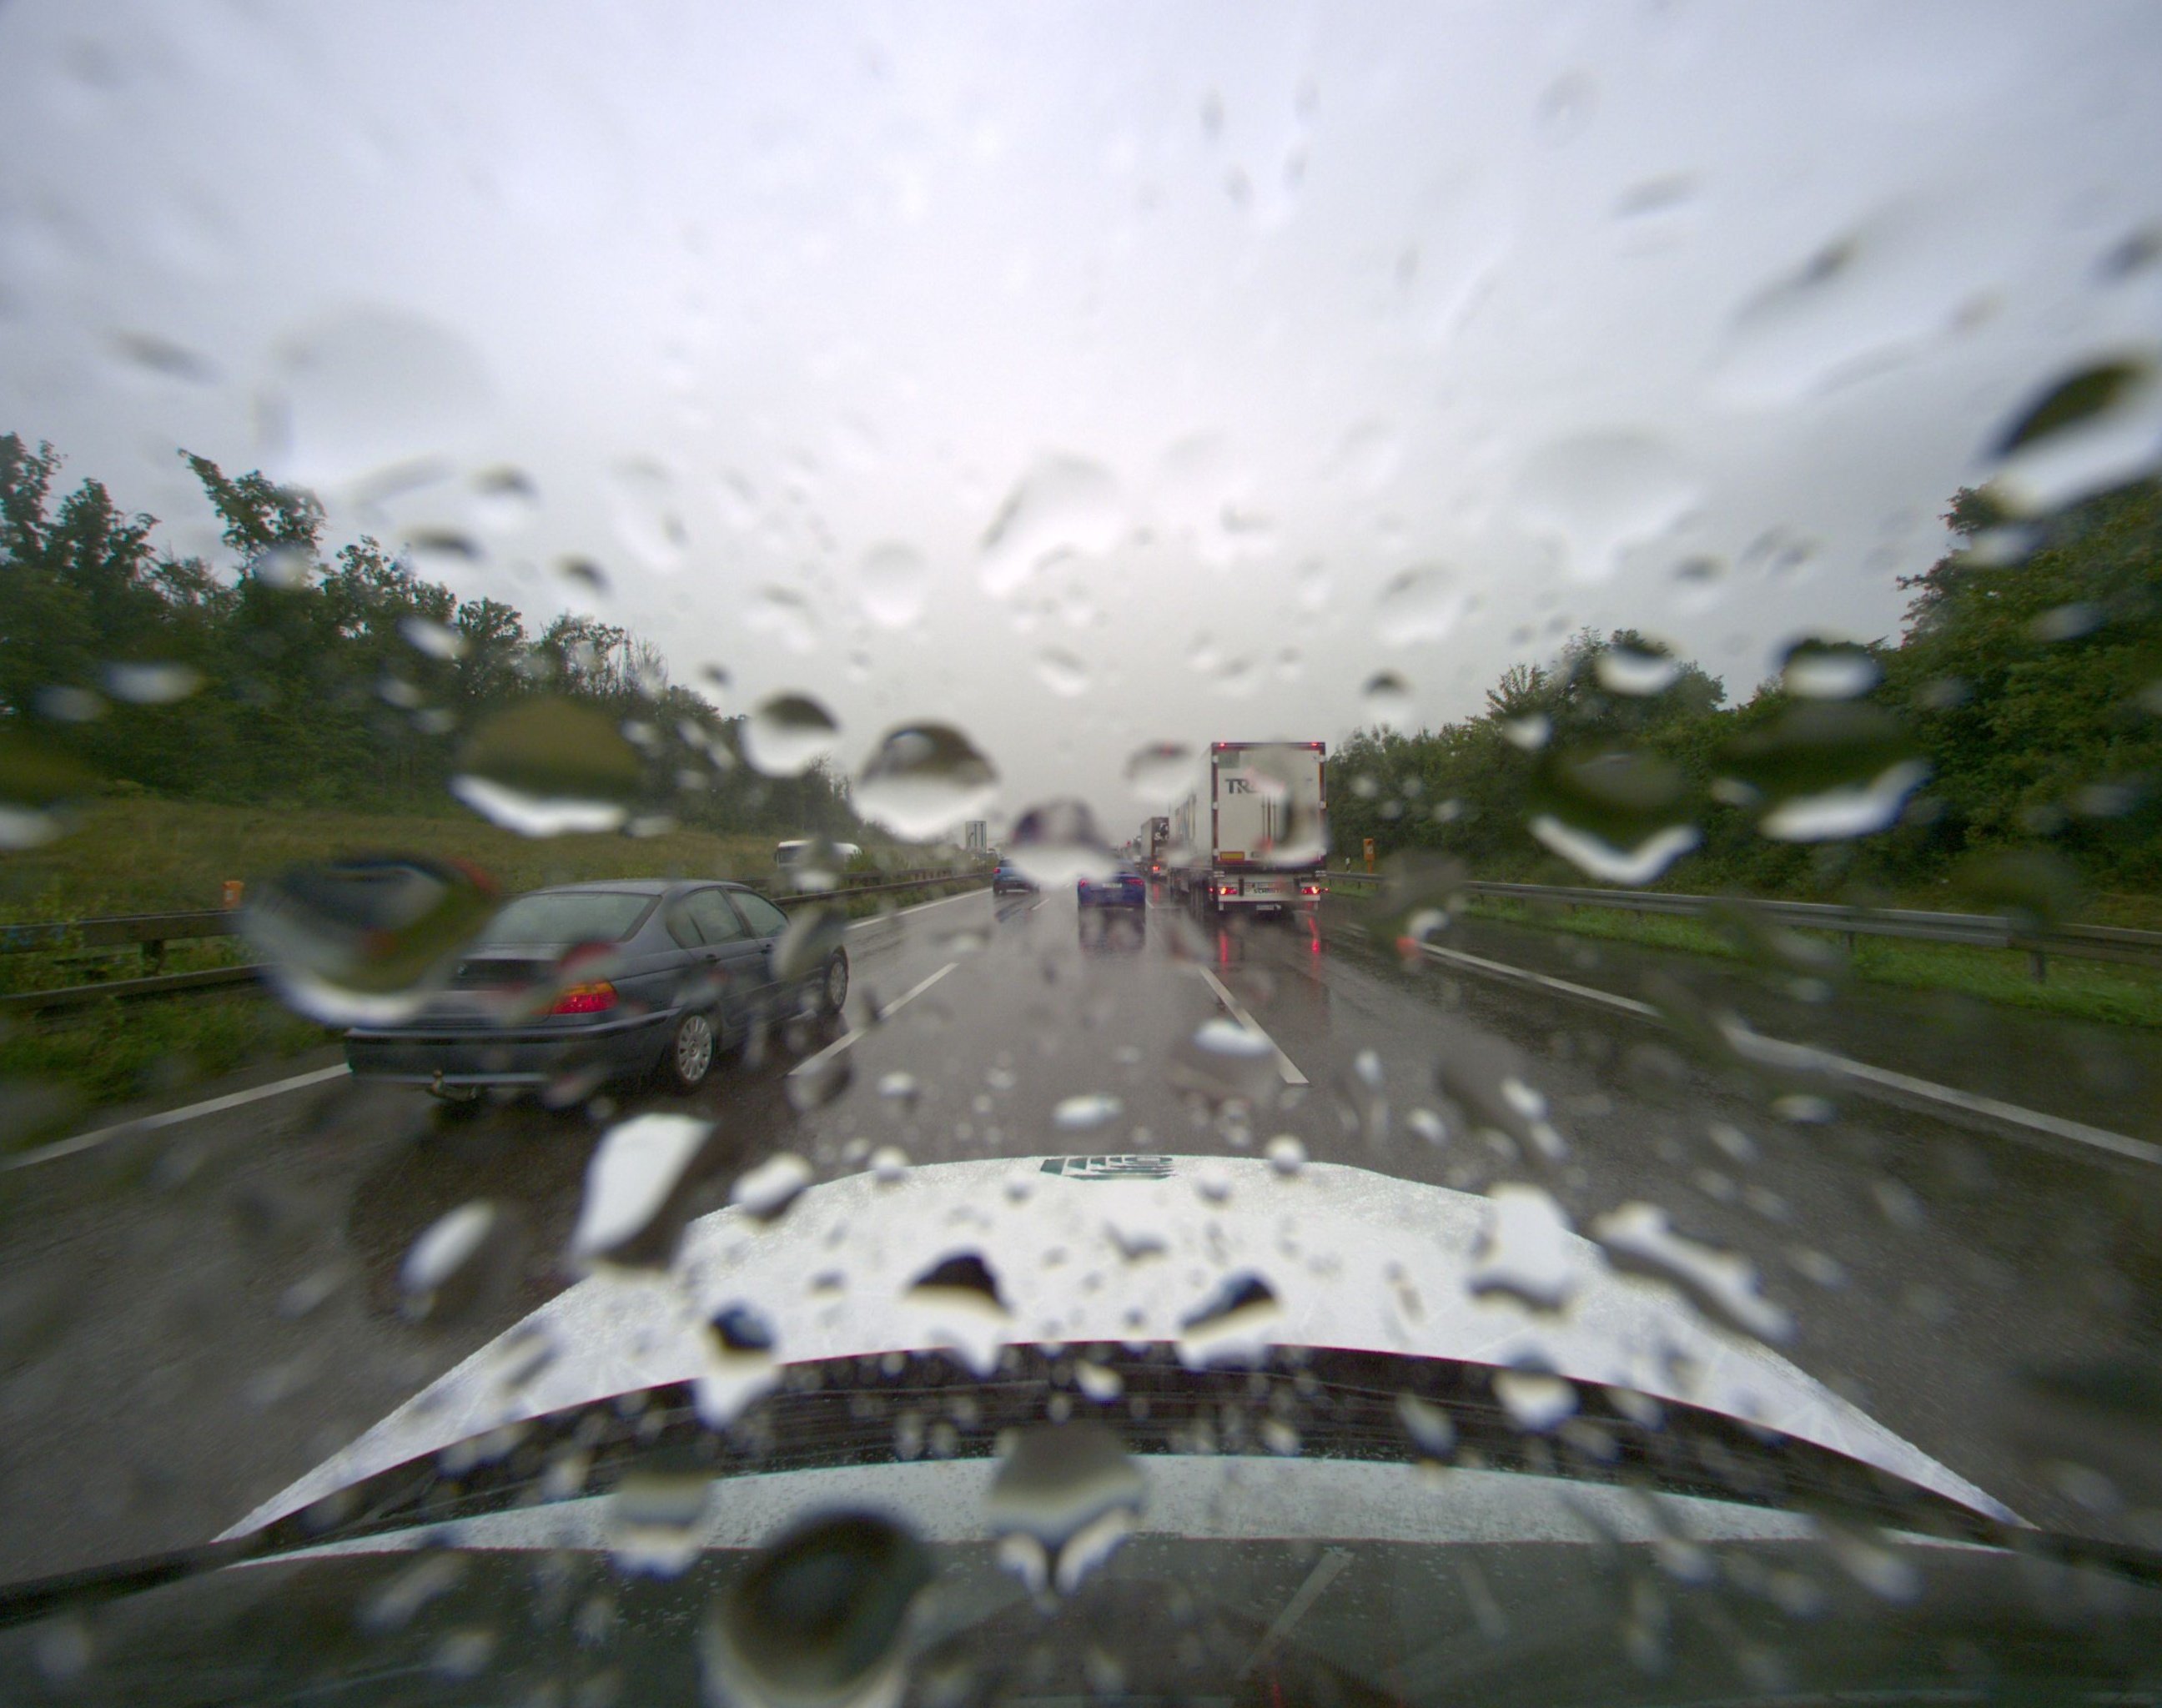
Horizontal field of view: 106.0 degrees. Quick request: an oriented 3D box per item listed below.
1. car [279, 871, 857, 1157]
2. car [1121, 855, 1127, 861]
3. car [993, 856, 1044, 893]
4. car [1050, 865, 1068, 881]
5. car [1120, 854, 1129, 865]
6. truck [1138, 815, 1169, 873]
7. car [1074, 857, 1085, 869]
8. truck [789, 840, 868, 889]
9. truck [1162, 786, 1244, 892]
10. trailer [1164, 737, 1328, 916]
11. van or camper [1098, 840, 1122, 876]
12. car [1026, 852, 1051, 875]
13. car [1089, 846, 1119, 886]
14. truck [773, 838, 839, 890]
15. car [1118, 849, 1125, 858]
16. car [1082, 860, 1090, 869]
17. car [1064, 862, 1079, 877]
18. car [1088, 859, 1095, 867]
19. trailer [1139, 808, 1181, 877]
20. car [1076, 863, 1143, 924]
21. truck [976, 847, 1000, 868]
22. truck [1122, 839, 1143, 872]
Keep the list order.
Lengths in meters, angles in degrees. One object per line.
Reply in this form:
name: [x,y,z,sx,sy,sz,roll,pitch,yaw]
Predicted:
car: [-3.284,0.884,6.388,1.711,1.400,4.232,-1,0,2]
car: [12.182,1.108,230.225,1.443,1.784,3.411,-1,-1,2]
car: [-2.674,0.850,35.736,1.714,1.523,4.003,-1,0,3]
car: [-1.966,1.695,73.388,1.434,1.420,3.323,-1,0,2]
car: [7.516,0.976,141.786,1.443,1.784,3.411,-1,-1,2]
truck: [5.436,-0.732,61.328,2.039,4.193,4.002,-1,0,2]
car: [-0.243,1.340,123.255,1.443,1.784,3.411,-1,-1,2]
truck: [-18.715,0.838,61.041,2.545,3.298,9.351,-3,-2,2]
truck: [4.695,-0.554,32.151,2.620,3.827,4.793,-1,0,2]
trailer: [4.488,-0.631,25.781,2.620,4.013,14.636,-1,0,2]
van or camper: [2.371,0.341,66.425,1.790,2.806,4.770,-1,0,2]
car: [-2.778,0.592,53.904,1.354,1.431,3.365,-1,0,2]
car: [1.086,0.530,38.677,1.331,1.780,3.323,-1,0,2]
truck: [-18.835,0.686,56.053,2.532,3.280,5.199,-3,-1,1]
car: [8.759,-0.063,176.254,1.331,1.890,3.041,-2,0,2]
car: [1.057,2.185,163.839,1.443,1.784,3.411,-1,-1,2]
car: [-0.977,1.663,87.970,1.434,1.533,3.323,-1,0,2]
car: [2.441,2.024,188.071,1.443,1.784,3.411,-1,-1,2]
trailer: [5.242,-0.714,55.384,2.039,4.176,11.453,-1,0,2]
car: [0.795,0.983,22.024,1.629,1.445,4.003,-1,0,3]
truck: [-13.116,0.503,115.034,2.471,2.719,4.530,-3,-2,3]
truck: [5.738,0.136,91.477,1.987,3.421,8.033,-1,0,1]
